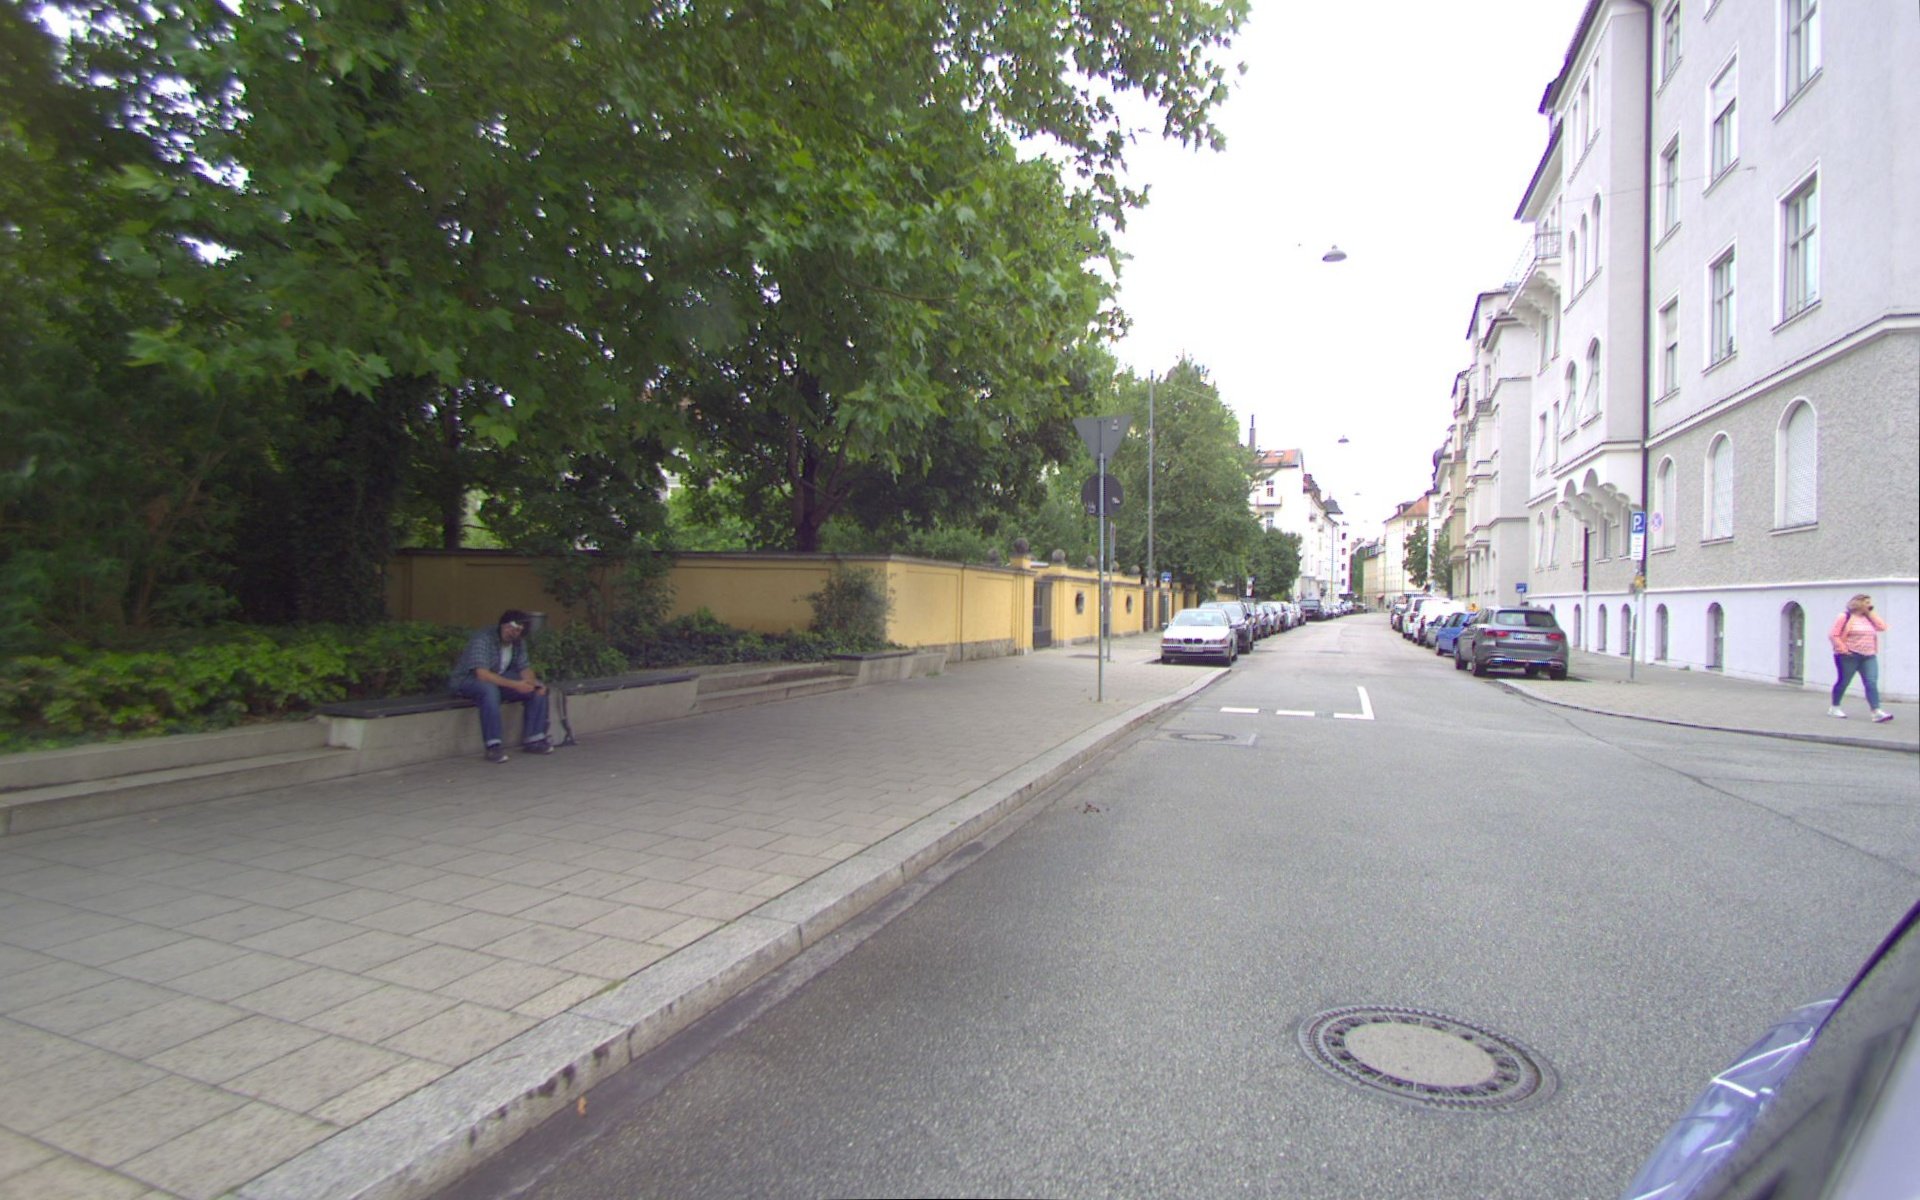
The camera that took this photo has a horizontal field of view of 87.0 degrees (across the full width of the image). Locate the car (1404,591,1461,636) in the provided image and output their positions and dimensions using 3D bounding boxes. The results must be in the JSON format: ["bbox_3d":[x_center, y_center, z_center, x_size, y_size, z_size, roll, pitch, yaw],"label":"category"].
[{"bbox_3d":[21.450,0.588,46.121,1.869,1.907,4.392,2,1,20],"label":"car"}]

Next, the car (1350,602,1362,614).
[{"bbox_3d":[60.634,1.177,154.938,1.754,1.825,4.312,1,0,22],"label":"car"}]

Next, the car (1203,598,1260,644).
[{"bbox_3d":[9.984,0.714,37.030,1.801,1.549,4.378,1,0,18],"label":"car"}]

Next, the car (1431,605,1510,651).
[{"bbox_3d":[17.740,0.920,35.347,1.869,1.392,4.392,2,1,20],"label":"car"}]

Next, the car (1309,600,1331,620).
[{"bbox_3d":[33.422,0.903,94.013,1.754,1.825,4.312,1,0,22],"label":"car"}]

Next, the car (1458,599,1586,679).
[{"bbox_3d":[13.112,0.826,23.883,1.869,1.636,4.392,2,1,20],"label":"car"}]

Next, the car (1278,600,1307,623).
[{"bbox_3d":[22.603,0.783,68.678,1.752,1.462,4.041,1,0,19],"label":"car"}]

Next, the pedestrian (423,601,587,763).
[{"bbox_3d":[-3.644,0.616,8.145,0.910,1.204,0.807,1,0,25],"label":"pedestrian"}]

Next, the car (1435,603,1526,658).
[{"bbox_3d":[15.858,0.876,31.032,1.869,1.482,4.392,2,1,20],"label":"car"}]

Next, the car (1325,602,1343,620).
[{"bbox_3d":[40.113,1.118,108.480,1.754,1.825,4.312,1,0,22],"label":"car"}]

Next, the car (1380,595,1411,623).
[{"bbox_3d":[33.433,0.648,77.717,1.869,2.062,4.392,2,1,20],"label":"car"}]

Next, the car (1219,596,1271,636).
[{"bbox_3d":[11.835,0.611,41.810,1.802,1.549,4.375,1,0,19],"label":"car"}]

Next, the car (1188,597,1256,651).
[{"bbox_3d":[8.396,0.708,32.159,1.801,1.549,4.545,1,0,18],"label":"car"}]

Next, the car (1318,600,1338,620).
[{"bbox_3d":[35.849,0.979,98.519,1.754,1.825,4.312,1,0,22],"label":"car"}]

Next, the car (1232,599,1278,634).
[{"bbox_3d":[13.557,0.709,46.372,1.752,1.462,4.375,1,0,19],"label":"car"}]

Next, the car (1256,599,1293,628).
[{"bbox_3d":[16.969,0.678,54.506,1.752,1.462,4.041,1,0,19],"label":"car"}]

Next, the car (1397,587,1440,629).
[{"bbox_3d":[26.557,0.453,58.719,1.869,2.285,4.392,2,1,20],"label":"car"}]

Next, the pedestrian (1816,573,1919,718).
[{"bbox_3d":[12.608,0.594,13.867,1.203,1.897,1.078,0,0,33],"label":"pedestrian"}]

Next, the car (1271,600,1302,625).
[{"bbox_3d":[20.635,0.767,63.914,1.752,1.462,4.041,1,0,19],"label":"car"}]

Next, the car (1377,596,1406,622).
[{"bbox_3d":[35.101,0.700,82.421,1.869,2.062,4.392,2,1,20],"label":"car"}]

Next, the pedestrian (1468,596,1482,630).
[{"bbox_3d":[31.848,0.796,62.639,0.702,2.039,0.704,0,0,22],"label":"pedestrian"}]

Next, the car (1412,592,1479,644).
[{"bbox_3d":[19.258,0.661,40.308,1.869,1.876,4.392,2,1,20],"label":"car"}]

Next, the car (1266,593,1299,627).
[{"bbox_3d":[18.983,0.540,59.504,1.752,1.909,4.041,1,0,19],"label":"car"}]

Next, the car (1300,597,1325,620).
[{"bbox_3d":[29.376,0.698,84.343,1.754,1.825,4.312,1,0,22],"label":"car"}]

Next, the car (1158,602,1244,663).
[{"bbox_3d":[6.436,0.785,26.692,1.801,1.420,4.545,1,0,18],"label":"car"}]
